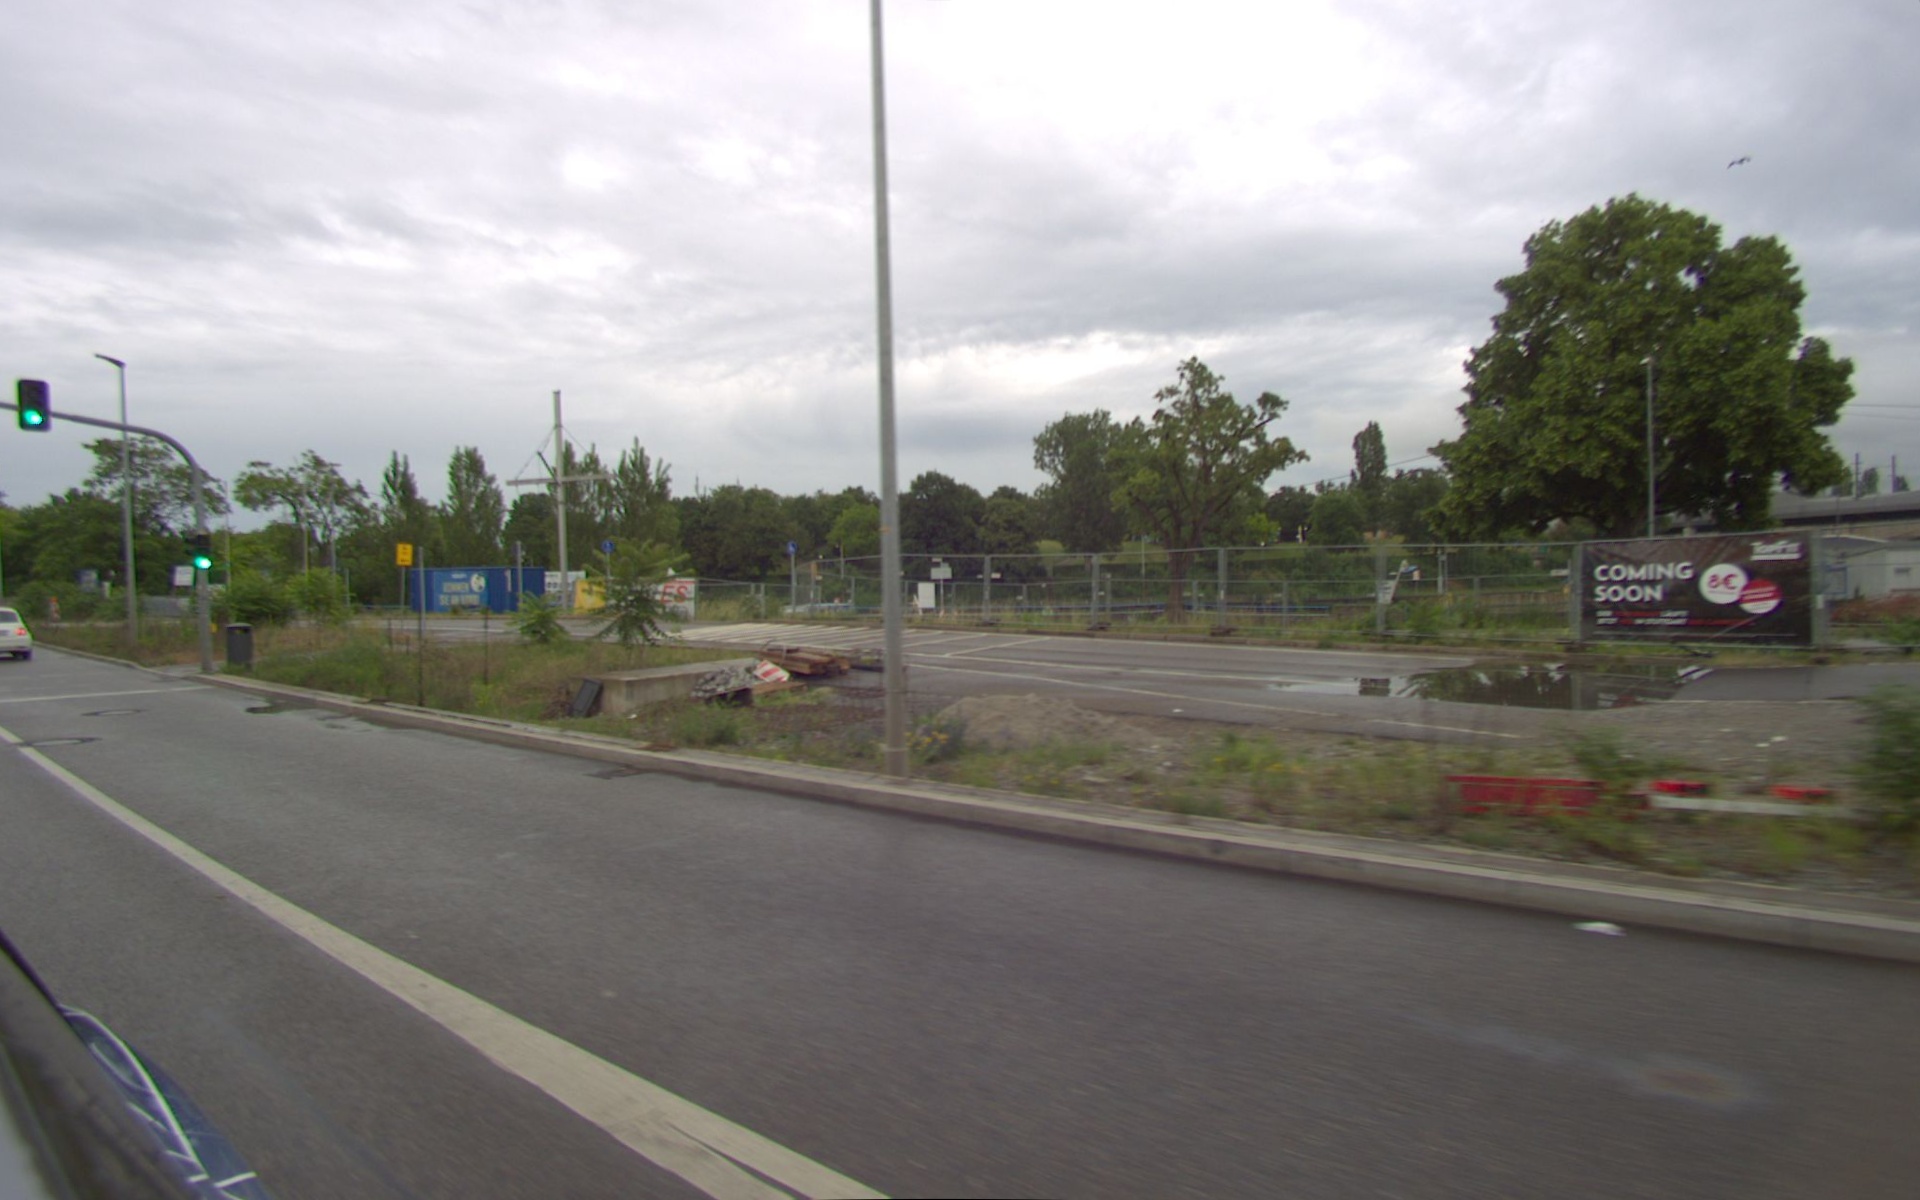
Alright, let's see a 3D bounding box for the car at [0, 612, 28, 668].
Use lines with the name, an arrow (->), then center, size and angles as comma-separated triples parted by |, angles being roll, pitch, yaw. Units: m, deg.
car -> -28.042, 1.126, 29.018 | 3.713, 1.502, 1.570 | 0, 0, 42
